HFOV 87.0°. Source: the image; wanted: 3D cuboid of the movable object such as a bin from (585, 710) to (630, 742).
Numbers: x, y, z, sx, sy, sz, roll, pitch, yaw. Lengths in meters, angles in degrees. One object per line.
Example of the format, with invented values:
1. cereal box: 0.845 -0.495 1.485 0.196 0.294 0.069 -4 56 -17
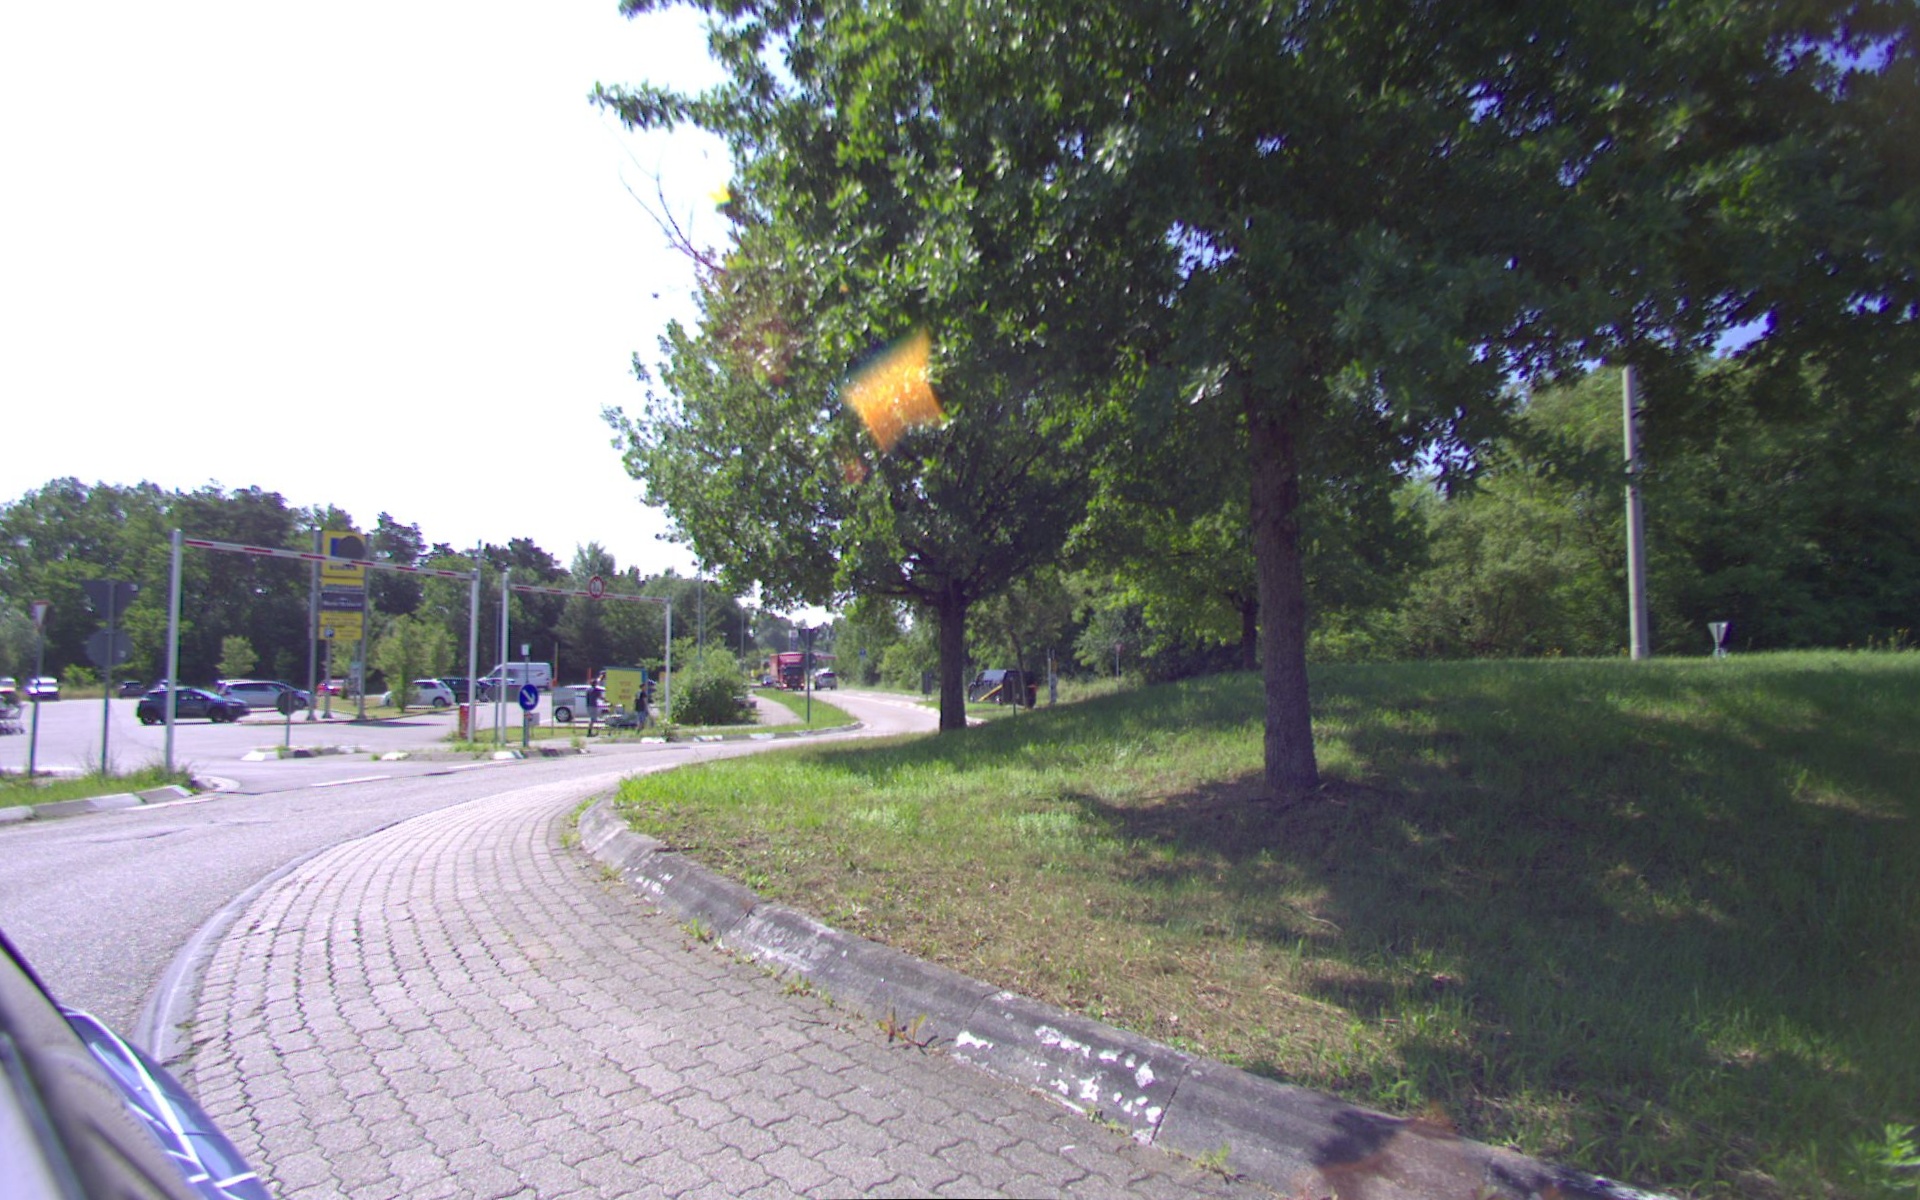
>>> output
1. movable object such as a bin: -11.411 4.083 32.758 0.871 0.962 1.199 -2 -5 13

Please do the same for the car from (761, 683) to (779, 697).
1. car: -22.379 10.589 119.279 1.796 1.620 3.540 1 -5 -16

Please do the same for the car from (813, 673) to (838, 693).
1. car: -13.084 8.053 98.423 1.868 1.830 4.608 1 -5 -14

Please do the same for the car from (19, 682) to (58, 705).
1. car: -72.881 7.400 80.070 2.039 1.724 4.006 4 -6 -40

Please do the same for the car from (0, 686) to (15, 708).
1. car: -74.763 7.509 78.610 1.768 1.608 4.266 4 -6 -42

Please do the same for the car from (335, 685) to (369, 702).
1. car: -56.945 8.740 94.776 2.039 1.497 4.006 4 -6 -40

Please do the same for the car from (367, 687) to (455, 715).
1. car: -29.738 5.464 54.923 3.932 1.453 1.655 0 -5 -15

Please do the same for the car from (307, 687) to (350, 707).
1. car: -51.103 7.836 81.873 1.970 1.477 4.497 4 -6 -44

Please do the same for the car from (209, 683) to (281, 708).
1. car: -48.511 6.461 68.680 3.934 1.597 1.975 3 -6 -37

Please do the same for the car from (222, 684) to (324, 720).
1. car: -38.095 5.629 56.154 4.489 1.715 2.003 0 -4 -41

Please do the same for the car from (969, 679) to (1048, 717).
1. car: 2.278 4.713 49.051 2.065 1.728 4.733 1 -5 -21

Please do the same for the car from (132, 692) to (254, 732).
1. car: -33.830 4.929 44.771 3.931 1.601 1.666 1 -5 -20

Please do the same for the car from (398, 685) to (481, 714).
1. car: -30.905 5.877 60.192 4.095 1.586 2.006 0 -5 -17

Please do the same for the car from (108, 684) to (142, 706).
1. car: -69.362 7.848 84.055 2.039 1.724 4.006 4 -6 -40

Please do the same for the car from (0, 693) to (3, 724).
1. car: -53.146 5.739 53.096 3.934 1.675 2.005 2 -6 -36

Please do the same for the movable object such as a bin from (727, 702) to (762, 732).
1. movable object such as a bin: -8.724 4.711 40.976 0.862 1.129 1.449 -2 -4 13

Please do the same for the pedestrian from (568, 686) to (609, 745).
1. pedestrian: -11.658 3.613 31.799 0.872 1.799 0.838 -2 -5 14

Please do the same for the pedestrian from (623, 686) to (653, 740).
1. pedestrian: -10.138 3.558 31.862 0.698 1.661 0.593 -3 -5 18

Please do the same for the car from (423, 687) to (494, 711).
1. car: -32.138 6.327 65.013 3.930 1.438 1.755 1 -5 -21

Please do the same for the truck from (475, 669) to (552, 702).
1. truck: -36.821 7.019 83.642 5.522 2.625 2.209 1 -5 -15

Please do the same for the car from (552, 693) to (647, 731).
1. car: -15.369 4.772 43.321 3.547 1.574 1.817 1 -5 -9

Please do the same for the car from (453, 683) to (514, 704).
1. car: -34.383 6.735 73.159 3.905 1.464 1.910 1 -5 -24

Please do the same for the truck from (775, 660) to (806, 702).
1. truck: -16.605 7.907 99.036 2.677 3.945 5.965 1 -5 -13

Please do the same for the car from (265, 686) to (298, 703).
1. car: -61.327 8.537 91.440 2.039 1.497 4.006 4 -6 -40

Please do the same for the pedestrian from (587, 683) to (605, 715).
1. pedestrian: -20.947 5.688 58.256 0.808 1.811 0.868 0 -5 -12

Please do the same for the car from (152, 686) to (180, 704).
1. car: -66.796 7.961 85.140 1.636 1.497 4.379 3 -6 -40
